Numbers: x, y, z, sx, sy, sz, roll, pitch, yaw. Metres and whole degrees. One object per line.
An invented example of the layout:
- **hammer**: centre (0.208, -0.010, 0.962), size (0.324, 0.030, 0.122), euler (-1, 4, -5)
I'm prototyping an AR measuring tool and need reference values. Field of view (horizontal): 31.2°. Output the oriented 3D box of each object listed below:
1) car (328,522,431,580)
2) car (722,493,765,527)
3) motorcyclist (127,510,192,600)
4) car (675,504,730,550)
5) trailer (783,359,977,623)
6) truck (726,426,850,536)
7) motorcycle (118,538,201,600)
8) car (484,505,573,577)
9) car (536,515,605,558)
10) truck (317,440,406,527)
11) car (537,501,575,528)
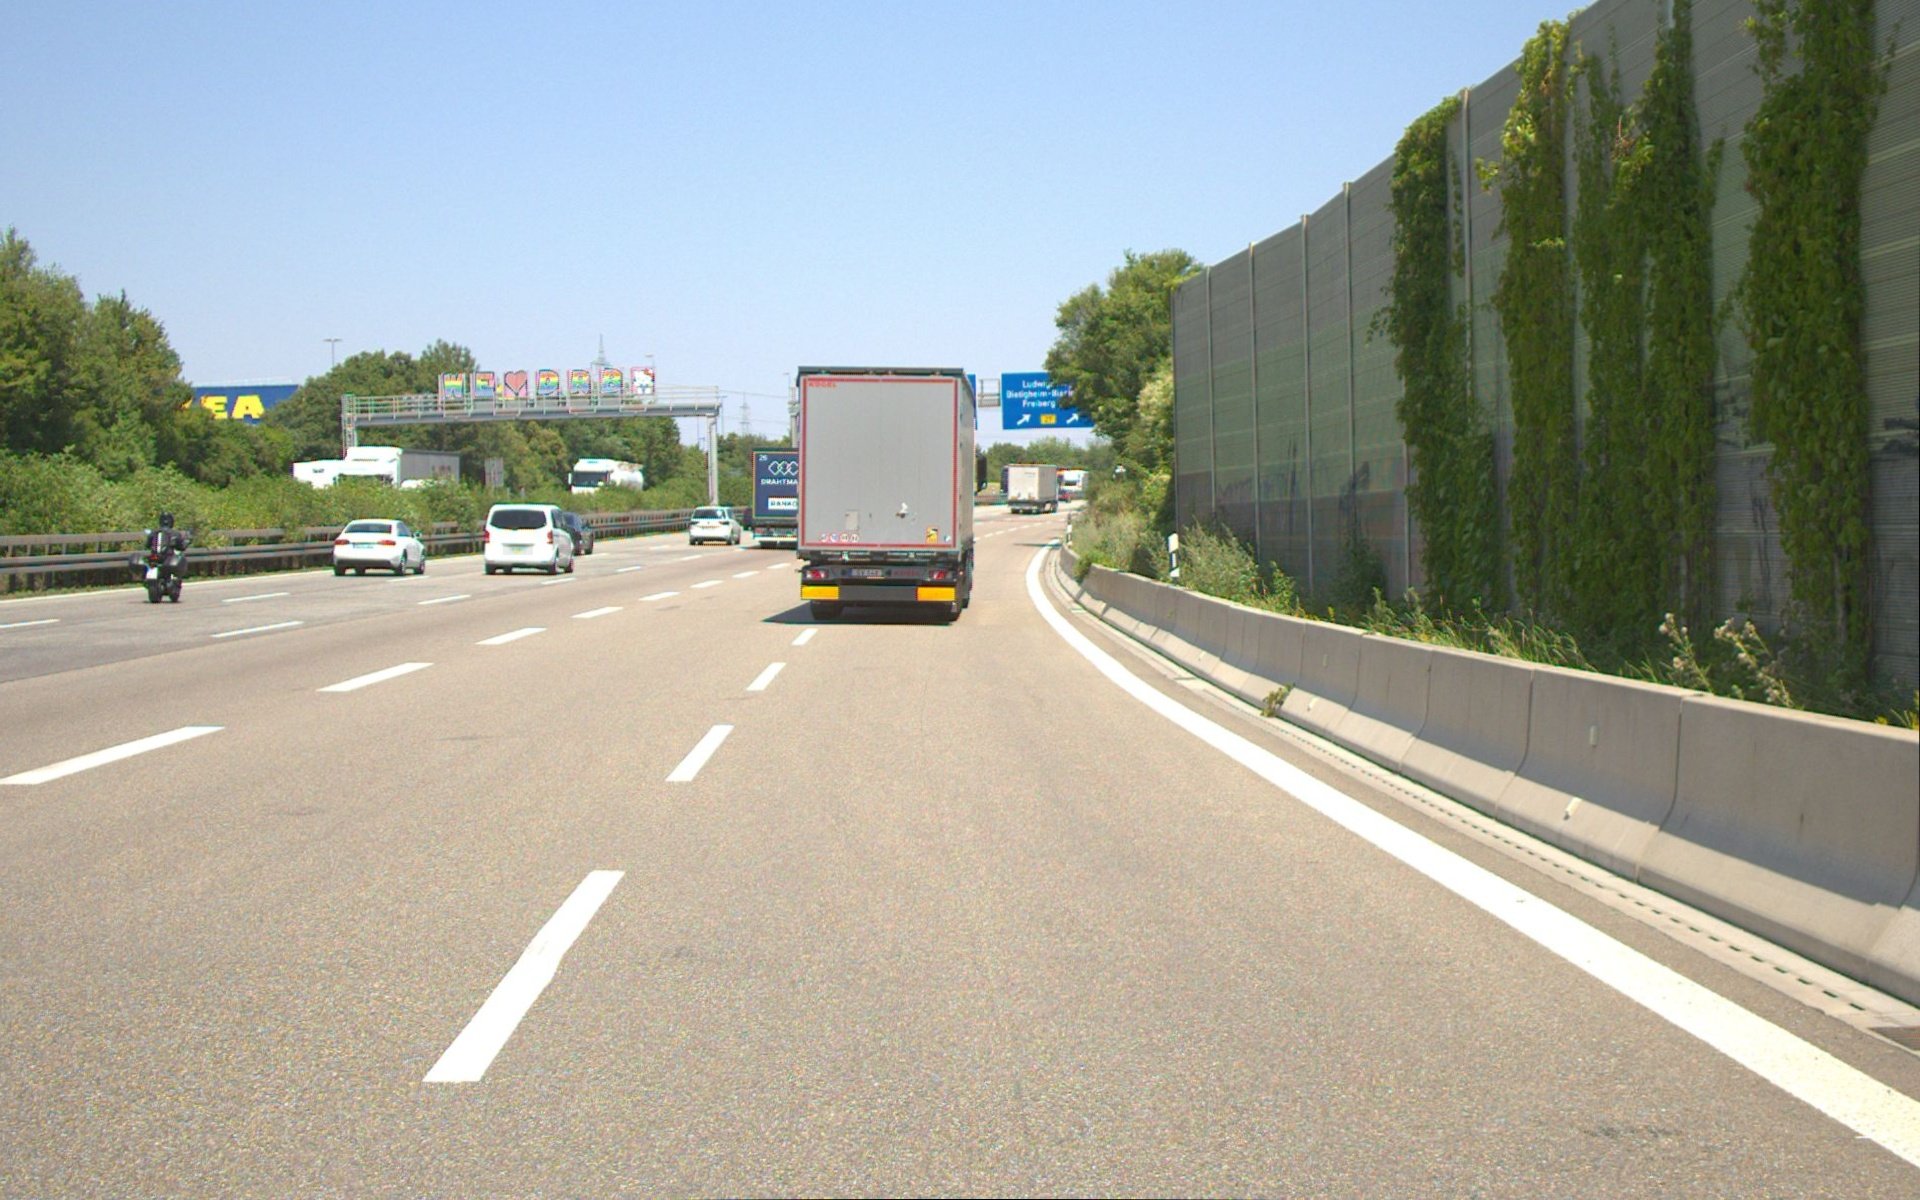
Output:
- **car**: centre (-14.948, -1.247, 88.795), size (1.876, 1.435, 5.126), euler (0, 1, -1)
- **car**: centre (-11.787, -4.884, 187.121), size (1.904, 1.711, 4.631), euler (-1, 0, 2)
- **motorcyclist**: centre (-14.370, -0.805, 61.768), size (0.893, 1.591, 1.299), euler (0, 1, -2)
- **car**: centre (-10.823, -3.095, 144.786), size (1.904, 1.845, 4.631), euler (-1, 2, 1)
- **trailer**: centre (-1.294, -1.892, 58.511), size (2.928, 4.001, 12.040), euler (-1, 2, -1)
- **truck**: centre (-6.970, -4.924, 141.888), size (3.747, 4.255, 14.496), euler (1, 2, 2)
- **motorcycle**: centre (-14.373, -0.556, 61.792), size (0.912, 1.085, 2.850), euler (0, 1, -2)
- **car**: centre (-11.538, -1.597, 92.172), size (1.930, 1.845, 4.693), euler (-1, 1, -2)
- **car**: centre (-13.635, -2.218, 120.678), size (1.757, 1.404, 5.039), euler (-1, 0, 1)
- **truck**: centre (-28.674, -5.582, 164.921), size (3.332, 4.075, 4.828), euler (1, 1, 1)
- **car**: centre (-27.920, -5.916, 237.747), size (1.904, 1.711, 4.631), euler (-1, 0, 2)
